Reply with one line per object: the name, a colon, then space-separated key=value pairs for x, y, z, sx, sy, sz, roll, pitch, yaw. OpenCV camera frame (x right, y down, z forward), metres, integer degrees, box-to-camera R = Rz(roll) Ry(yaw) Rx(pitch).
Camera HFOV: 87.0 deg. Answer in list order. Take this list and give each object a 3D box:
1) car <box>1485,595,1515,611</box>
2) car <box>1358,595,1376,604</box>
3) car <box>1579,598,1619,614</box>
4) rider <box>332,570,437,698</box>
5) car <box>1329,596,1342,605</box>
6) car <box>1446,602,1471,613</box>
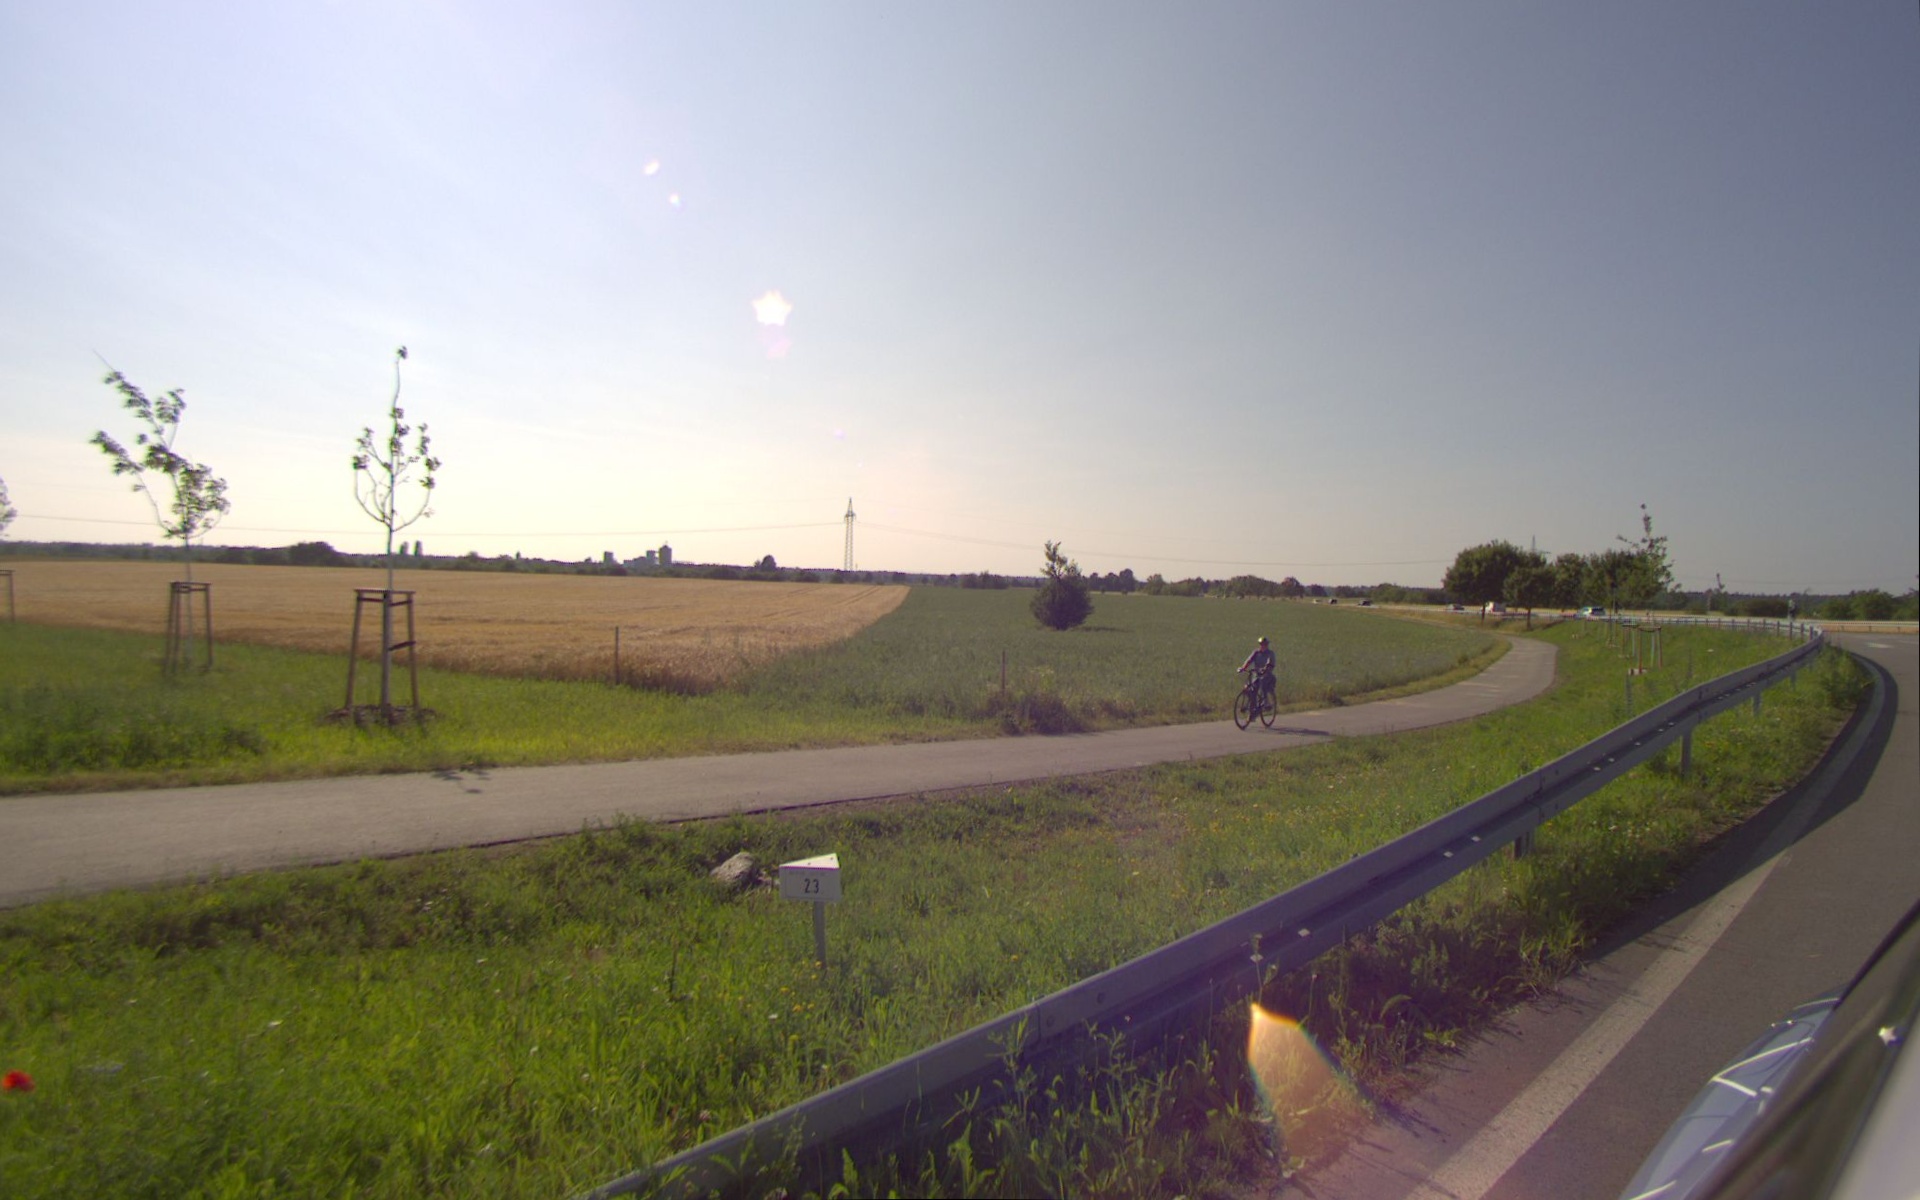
car: x=74.707 y=0.411 z=140.059 sx=2.088 sy=2.040 sz=5.135 roll=1 pitch=-2 yaw=10
car: x=81.961 y=-0.080 z=203.975 sx=1.965 sy=1.613 sz=4.855 roll=1 pitch=-1 yaw=5
car: x=69.191 y=0.655 z=109.592 sx=2.090 sy=1.512 sz=5.129 roll=0 pitch=-2 yaw=14
rider: x=-7.873 y=0.441 z=13.886 sx=0.806 sy=1.663 sz=0.991 roll=2 pitch=0 yaw=1
car: x=86.194 y=0.137 z=232.403 sx=1.857 sy=1.820 sz=5.080 roll=-1 pitch=2 yaw=9
car: x=75.992 y=1.125 z=154.298 sx=1.769 sy=1.467 sz=4.696 roll=1 pitch=-2 yaw=6
